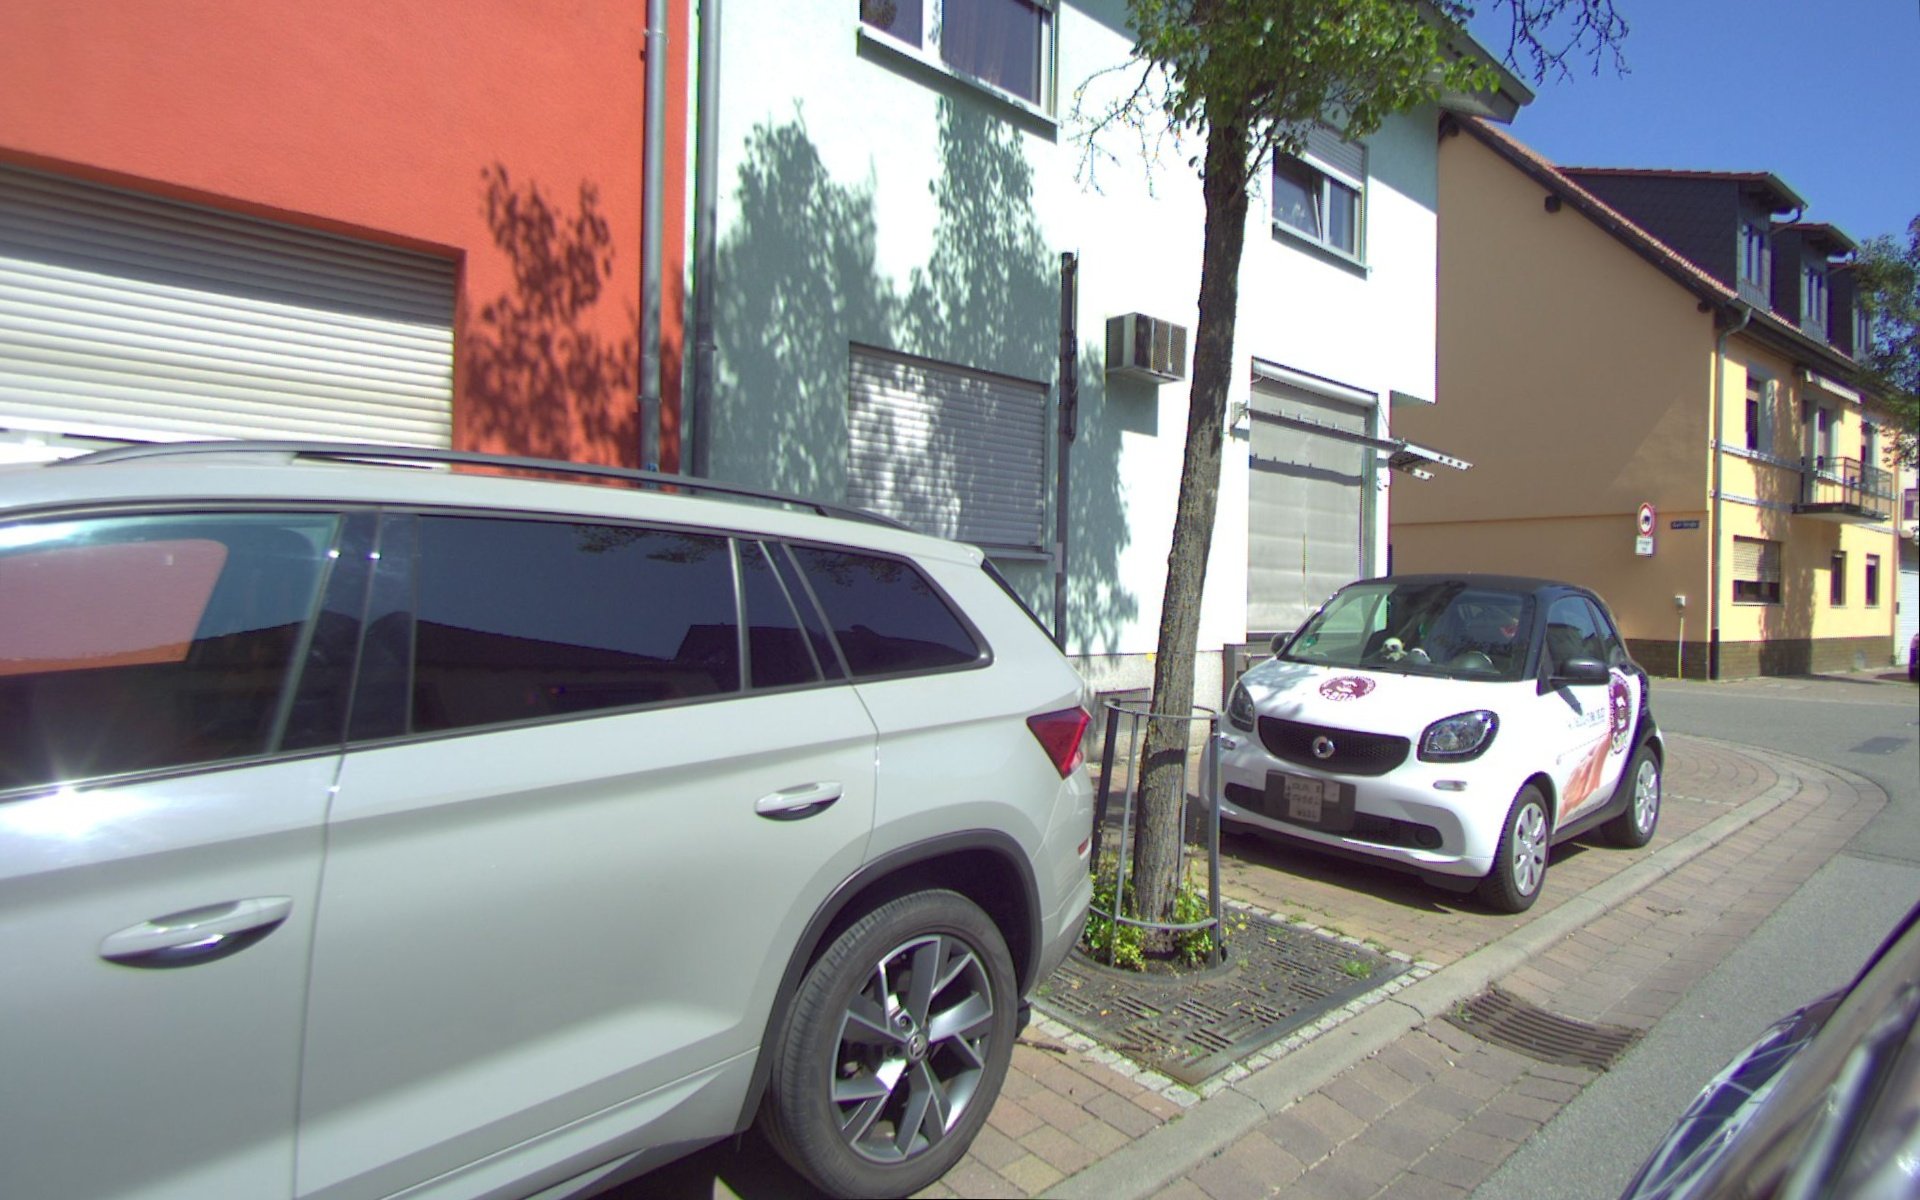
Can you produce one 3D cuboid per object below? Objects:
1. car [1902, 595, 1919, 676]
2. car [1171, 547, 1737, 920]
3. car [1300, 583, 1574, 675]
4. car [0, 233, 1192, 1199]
[{"bbox_3d":[21.267,0.758,20.758,4.029,1.623,1.932,1,1,-34],"label":"car"},{"bbox_3d":[3.200,0.546,6.180,3.928,1.562,1.713,1,1,-41],"label":"car"},{"bbox_3d":[8.969,0.468,19.297,1.965,1.501,4.294,1,1,-41],"label":"car"},{"bbox_3d":[-1.672,0.393,1.981,4.582,1.705,1.869,1,1,-43],"label":"car"}]
